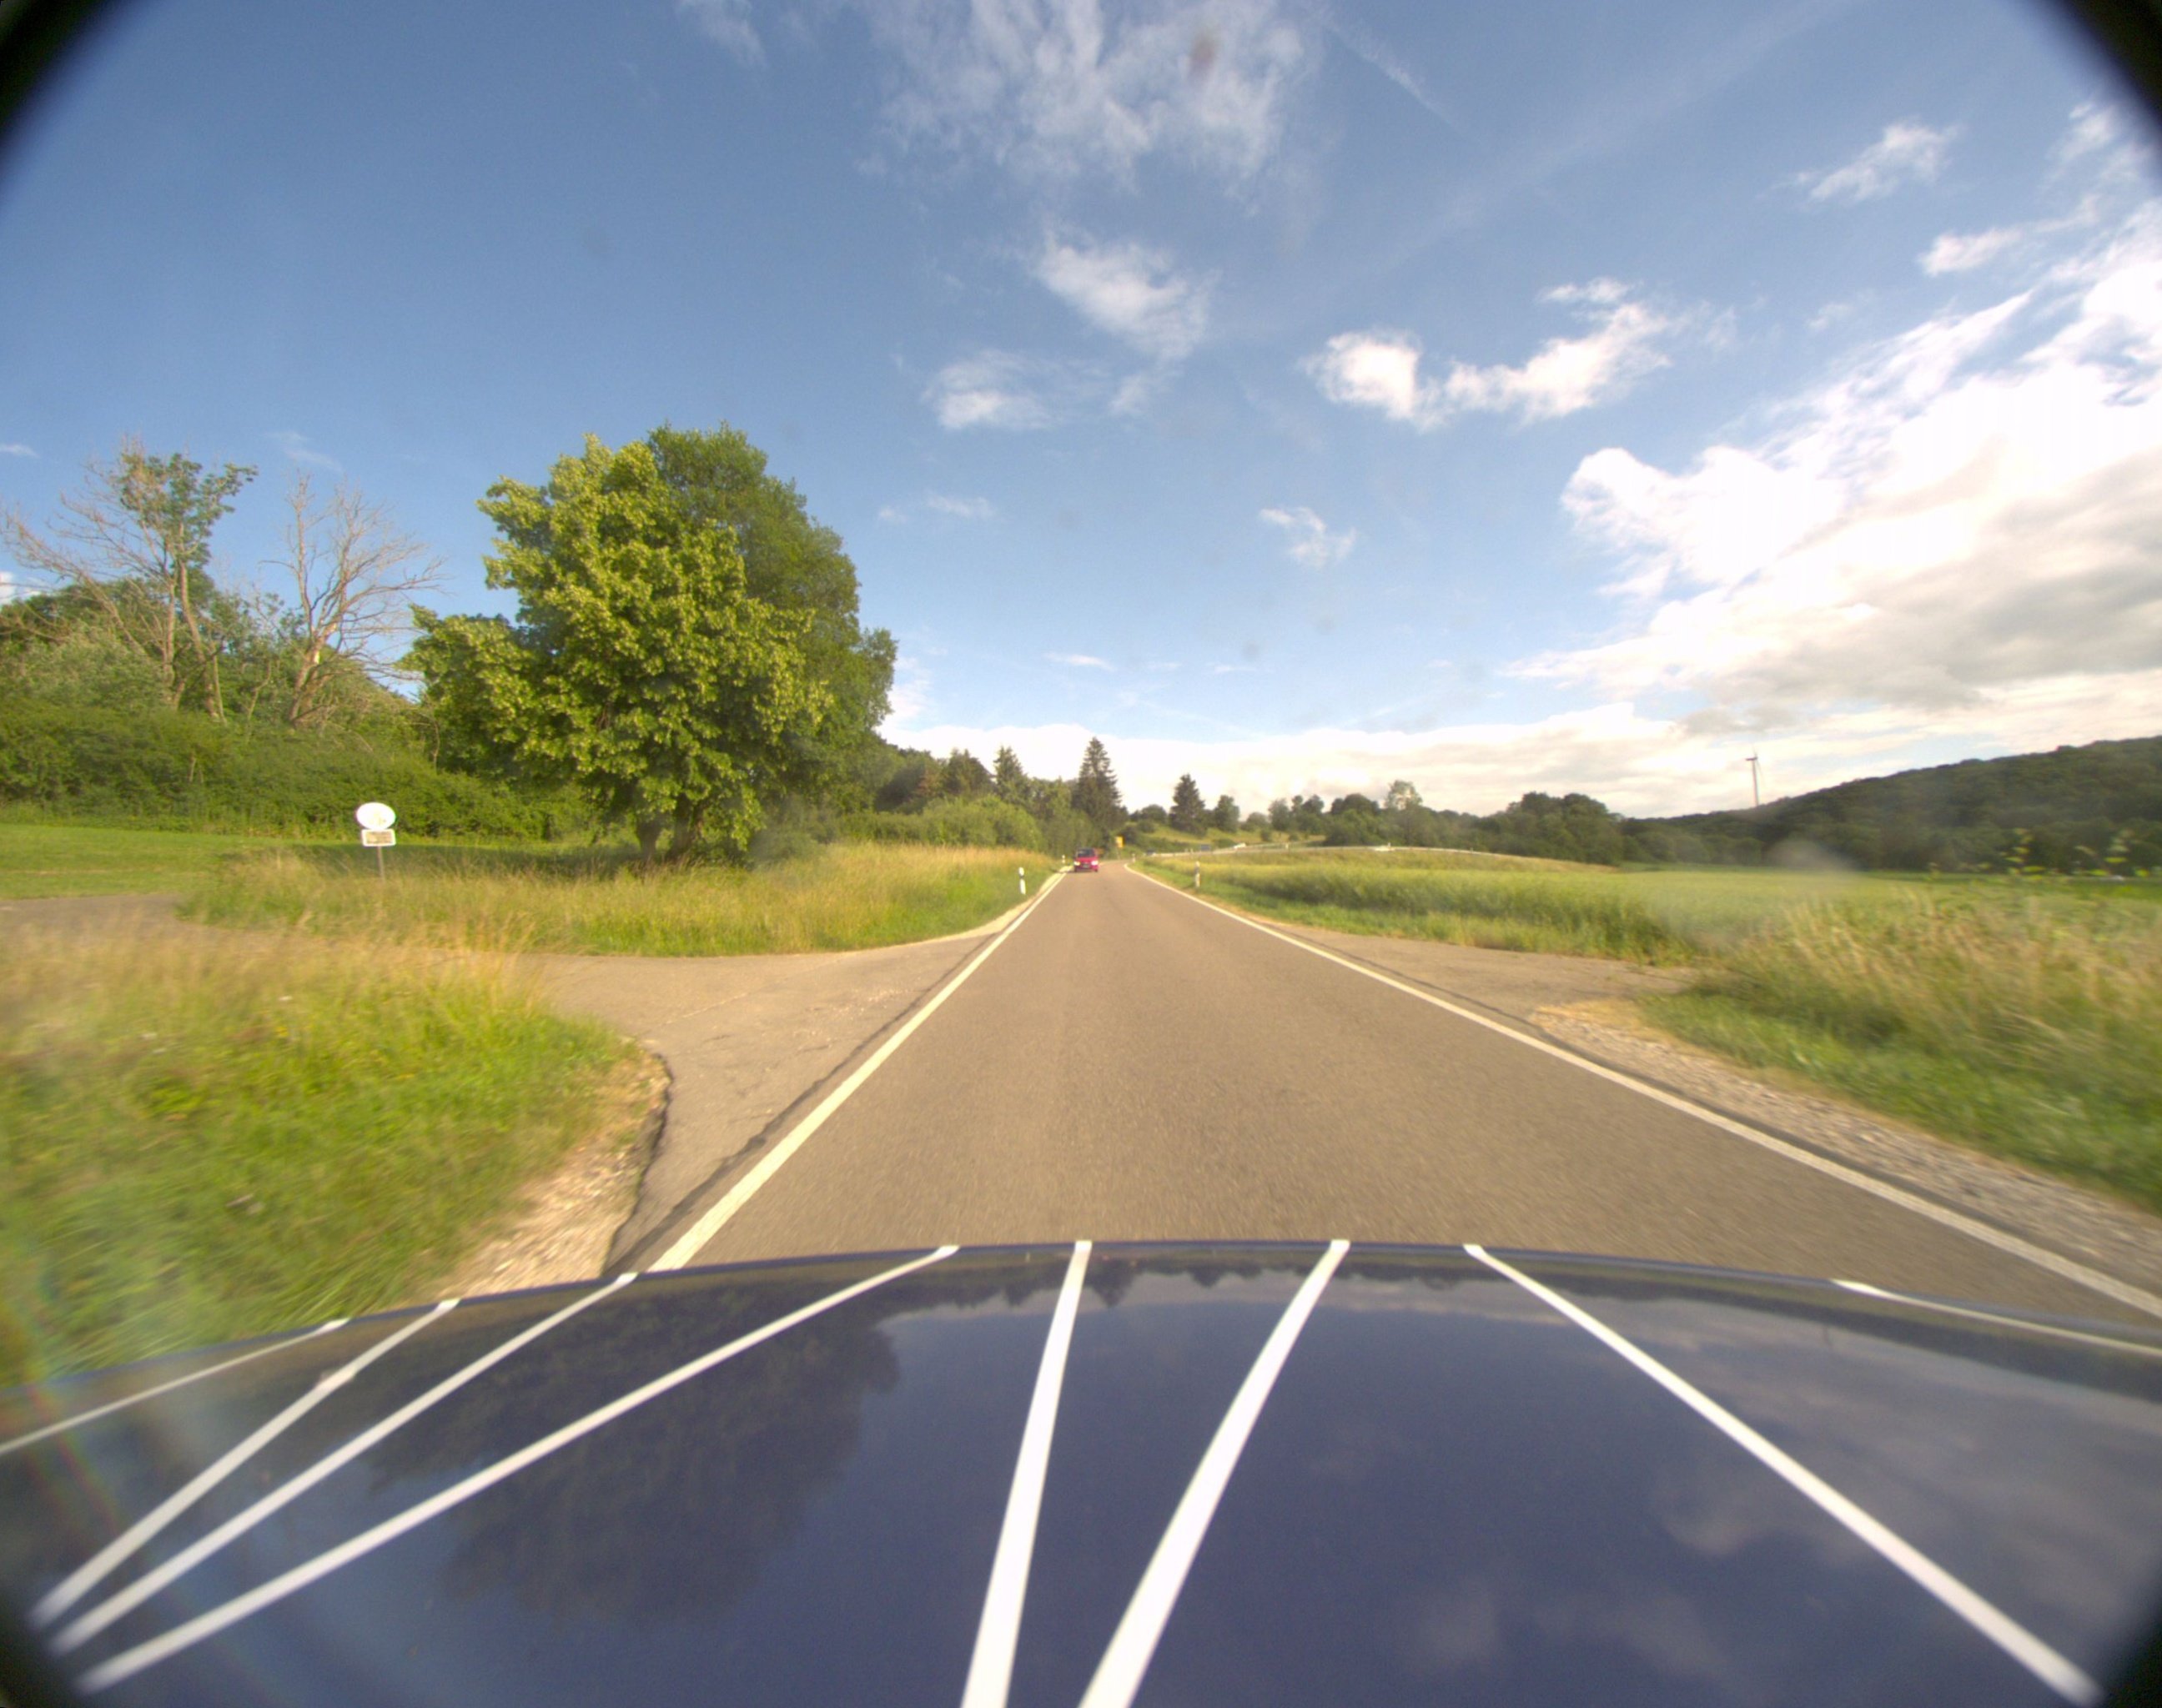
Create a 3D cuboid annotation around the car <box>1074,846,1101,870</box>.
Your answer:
[{"bbox_3d":[0.527,0.272,56.598,1.820,1.645,4.001,-2,0,3],"label":"car"}]
